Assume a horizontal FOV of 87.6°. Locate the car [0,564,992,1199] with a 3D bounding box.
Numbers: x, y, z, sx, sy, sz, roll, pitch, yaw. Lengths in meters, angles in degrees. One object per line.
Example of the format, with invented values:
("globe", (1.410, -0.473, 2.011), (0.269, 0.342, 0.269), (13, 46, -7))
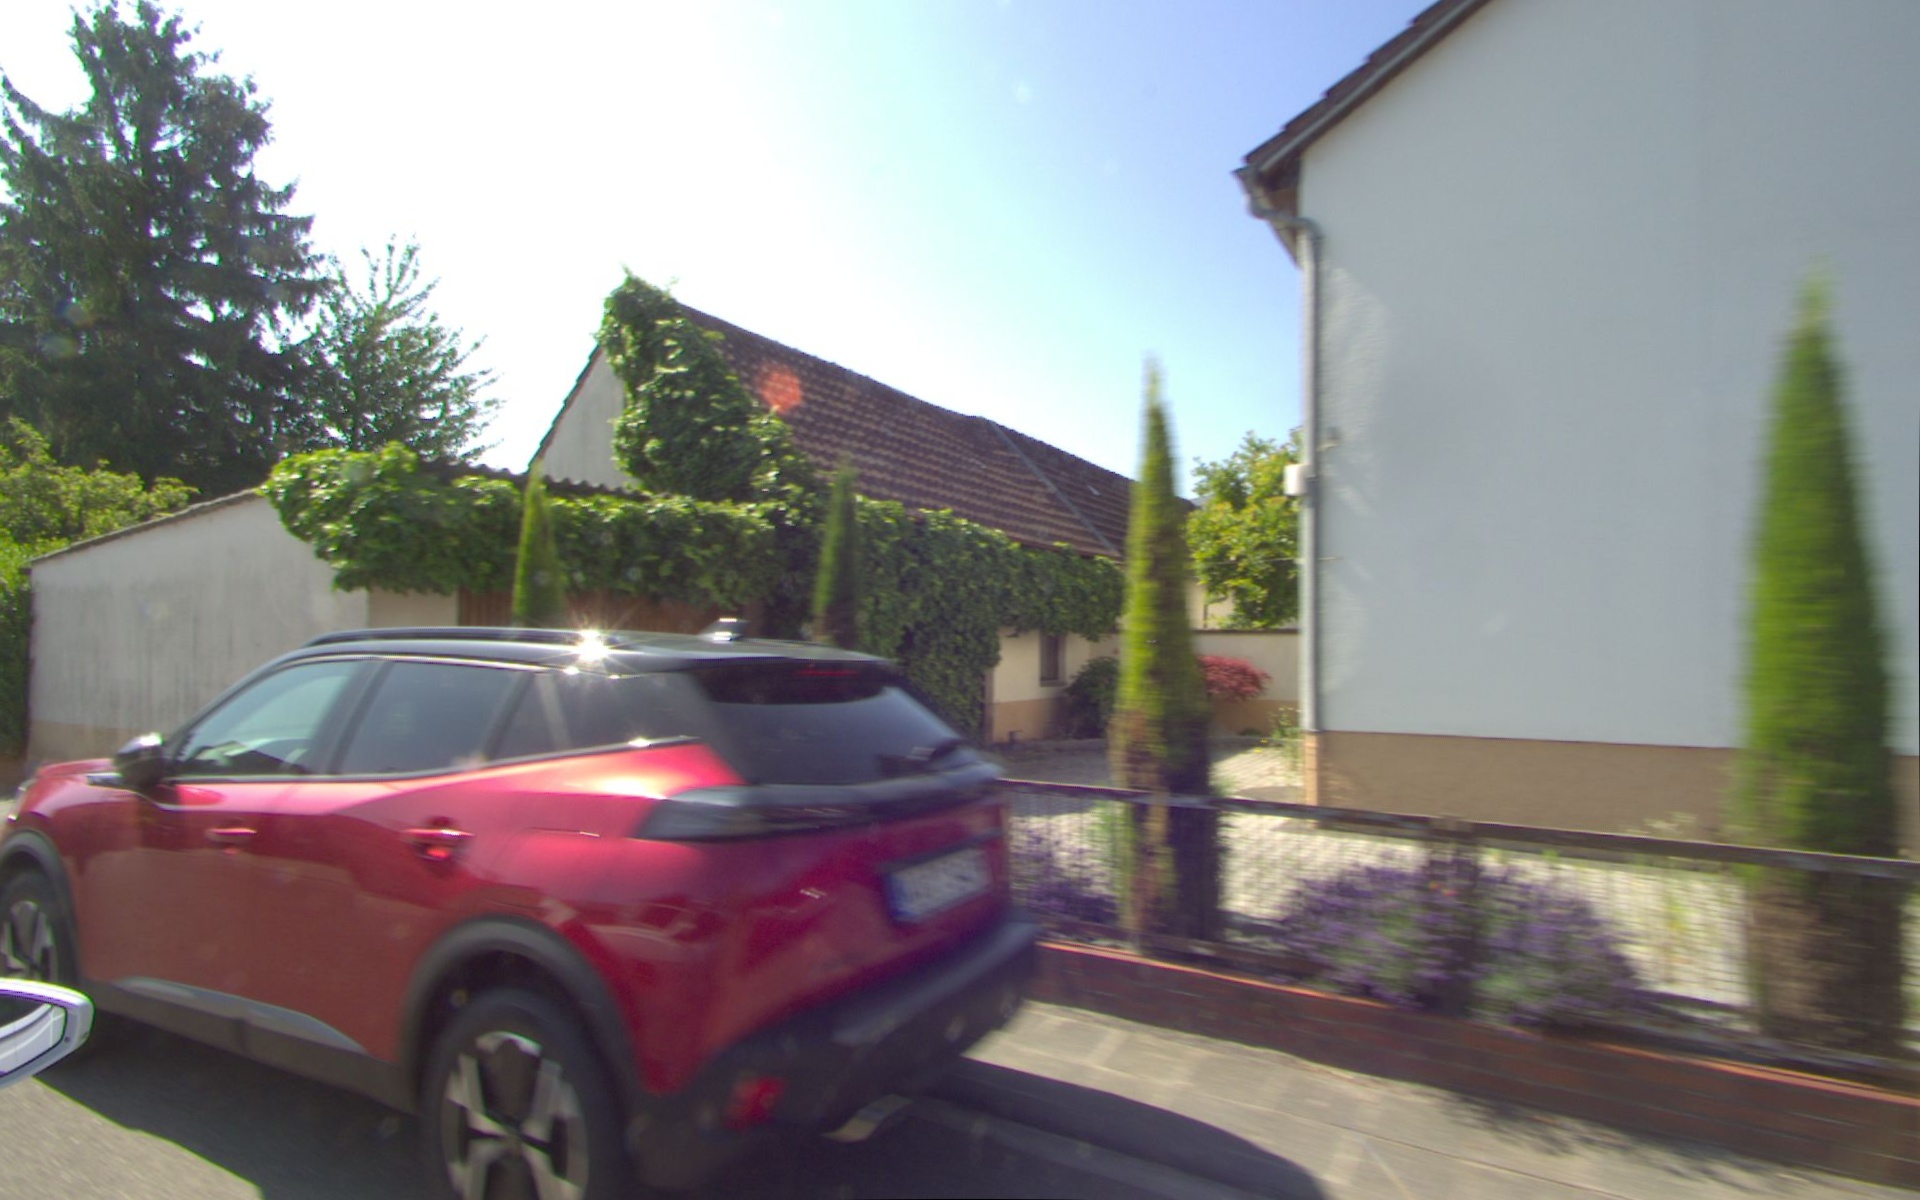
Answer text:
("car", (-2.044, 0.833, 3.802), (3.940, 1.635, 1.822), (-1, -4, 29))
